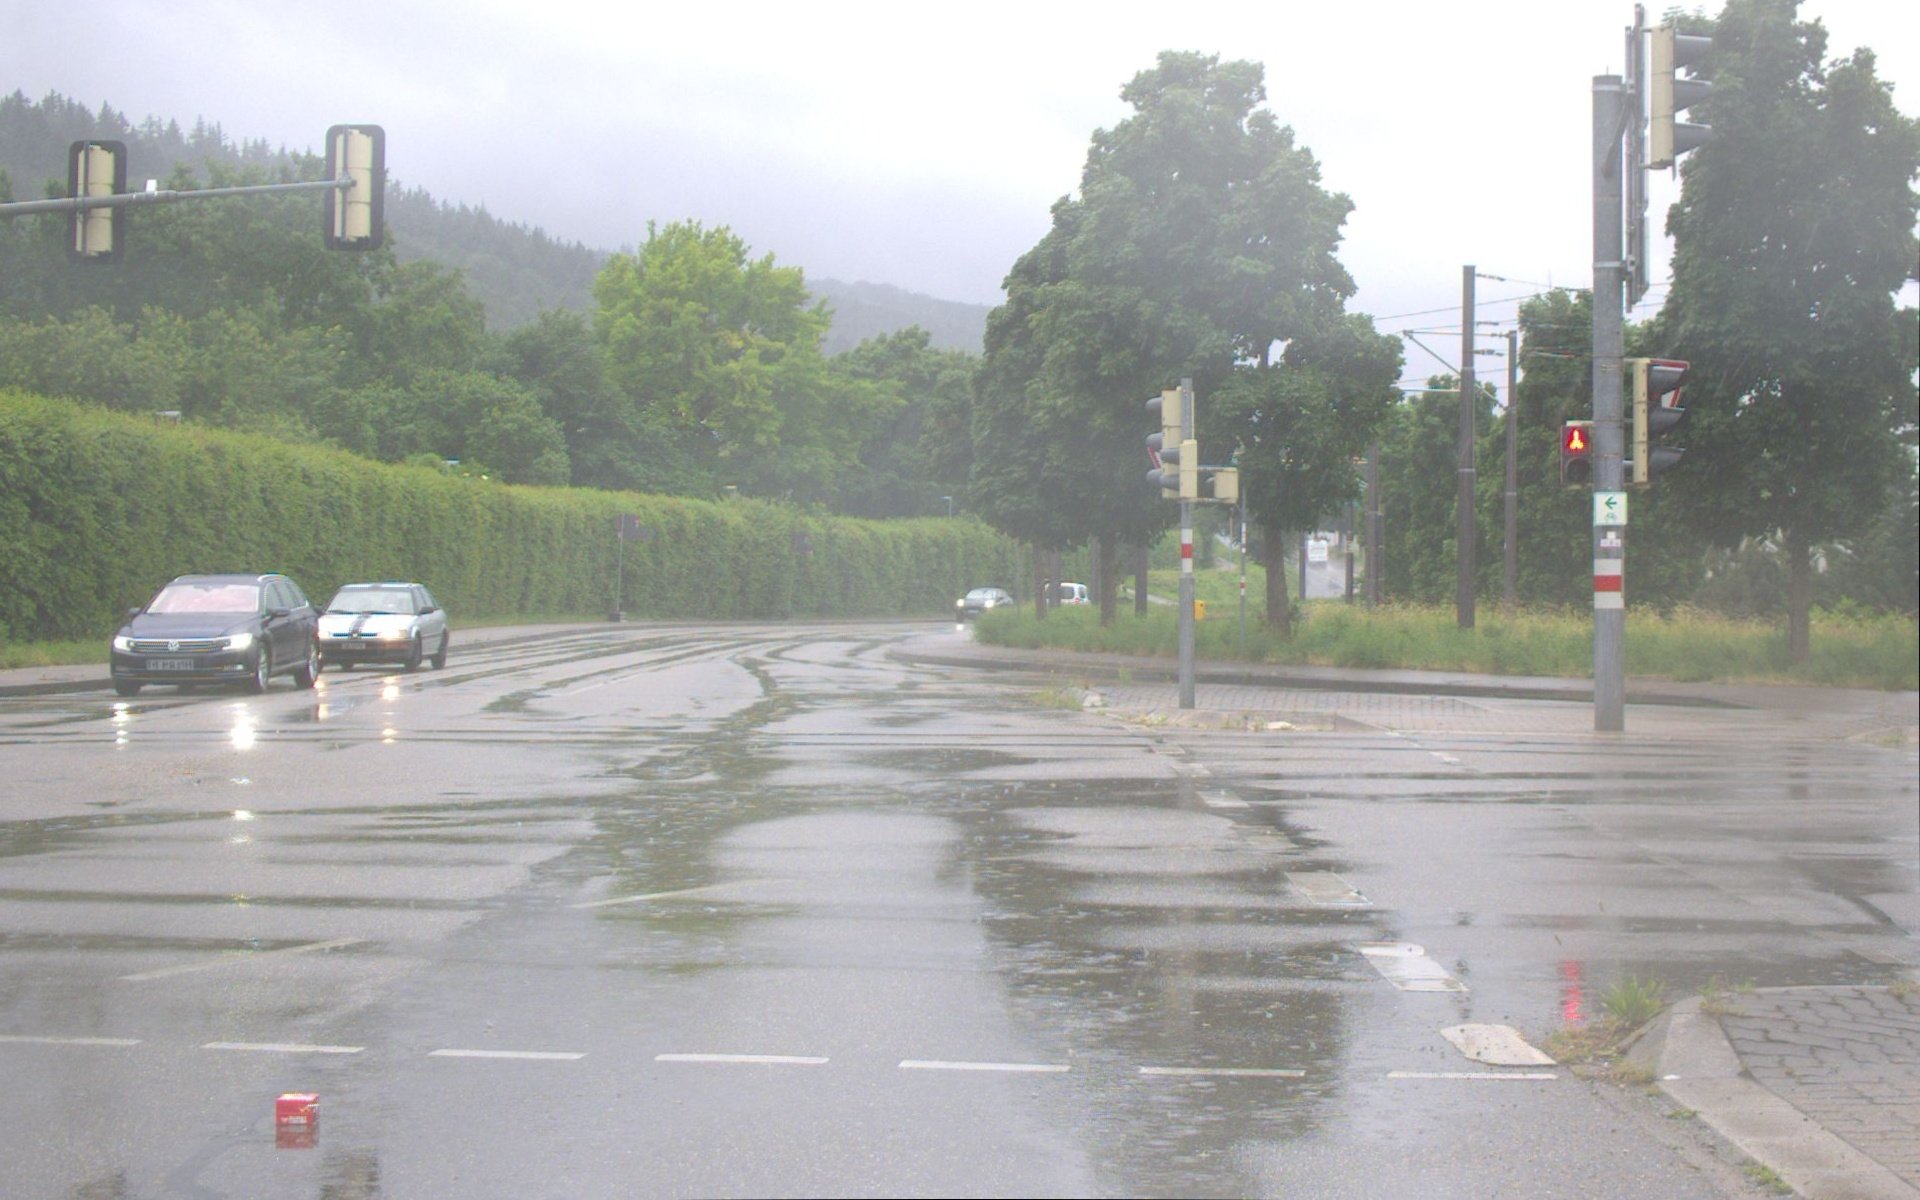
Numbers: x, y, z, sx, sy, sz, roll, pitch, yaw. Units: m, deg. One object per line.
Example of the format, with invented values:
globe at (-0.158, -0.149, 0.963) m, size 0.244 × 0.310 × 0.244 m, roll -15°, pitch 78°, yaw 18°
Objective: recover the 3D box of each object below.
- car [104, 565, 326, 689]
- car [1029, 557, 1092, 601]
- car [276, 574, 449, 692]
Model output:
car at (-9.343, 0.301, 43.456) m, size 1.708 × 1.461 × 4.453 m, roll 0°, pitch 1°, yaw 2°
car at (4.408, -0.925, 150.374) m, size 1.954 × 1.897 × 4.118 m, roll 0°, pitch 1°, yaw 13°
car at (-9.299, 0.477, 53.795) m, size 2.036 × 1.702 × 4.066 m, roll 1°, pitch 1°, yaw -1°
